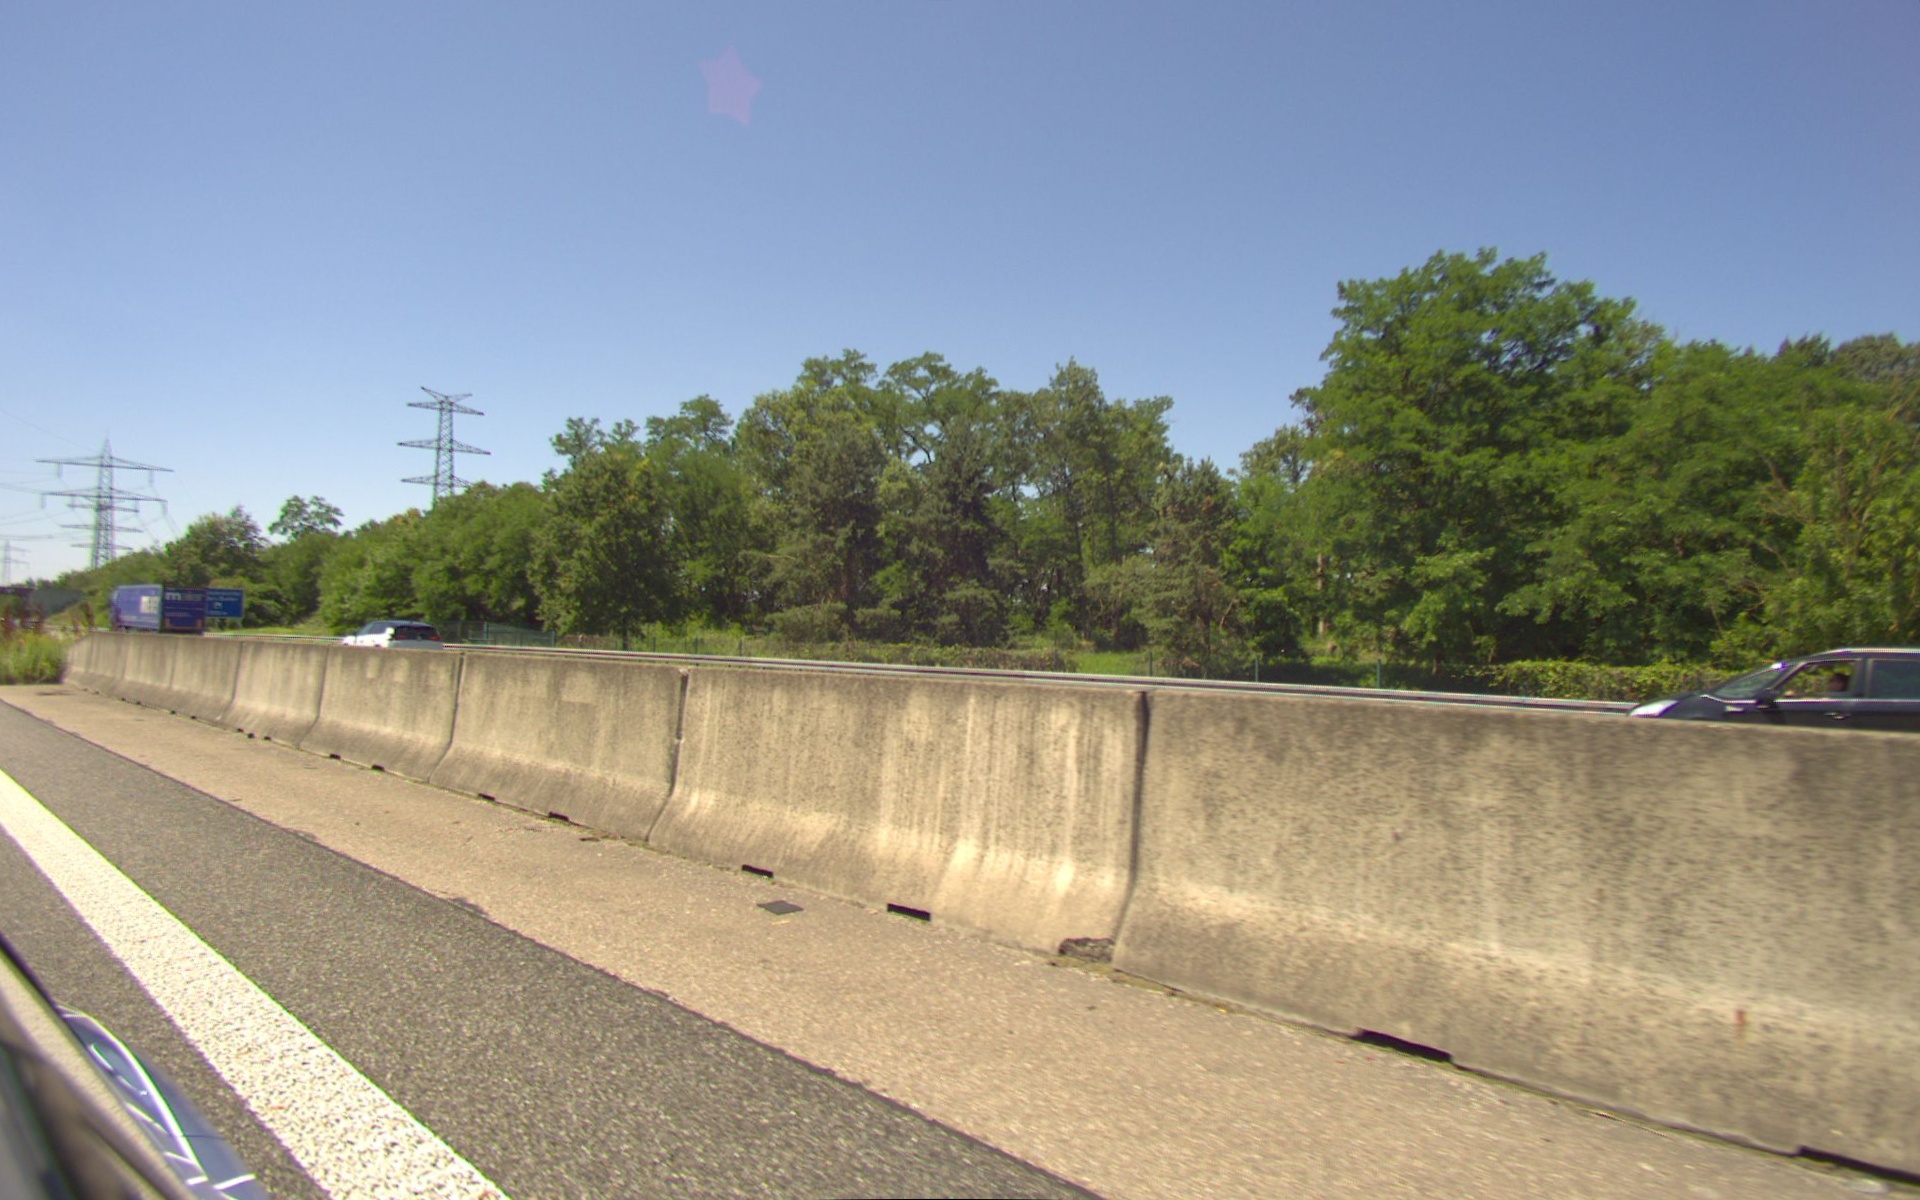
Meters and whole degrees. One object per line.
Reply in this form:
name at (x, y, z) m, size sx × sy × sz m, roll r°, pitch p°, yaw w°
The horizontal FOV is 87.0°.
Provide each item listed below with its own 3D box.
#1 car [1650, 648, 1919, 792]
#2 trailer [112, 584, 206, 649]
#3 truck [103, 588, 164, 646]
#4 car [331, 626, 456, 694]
car at (11.259, 1.417, 12.193) m, size 4.681 × 1.570 × 1.973 m, roll -1°, pitch -4°, yaw 41°
trailer at (-56.651, 1.211, 71.415) m, size 13.458 × 4.163 × 2.446 m, roll -1°, pitch -4°, yaw 41°
truck at (-62.548, 1.311, 76.562) m, size 5.681 × 4.165 × 2.441 m, roll -1°, pitch -5°, yaw 41°
car at (-18.674, 1.936, 33.262) m, size 4.936 × 2.029 × 1.973 m, roll -1°, pitch -4°, yaw 41°
